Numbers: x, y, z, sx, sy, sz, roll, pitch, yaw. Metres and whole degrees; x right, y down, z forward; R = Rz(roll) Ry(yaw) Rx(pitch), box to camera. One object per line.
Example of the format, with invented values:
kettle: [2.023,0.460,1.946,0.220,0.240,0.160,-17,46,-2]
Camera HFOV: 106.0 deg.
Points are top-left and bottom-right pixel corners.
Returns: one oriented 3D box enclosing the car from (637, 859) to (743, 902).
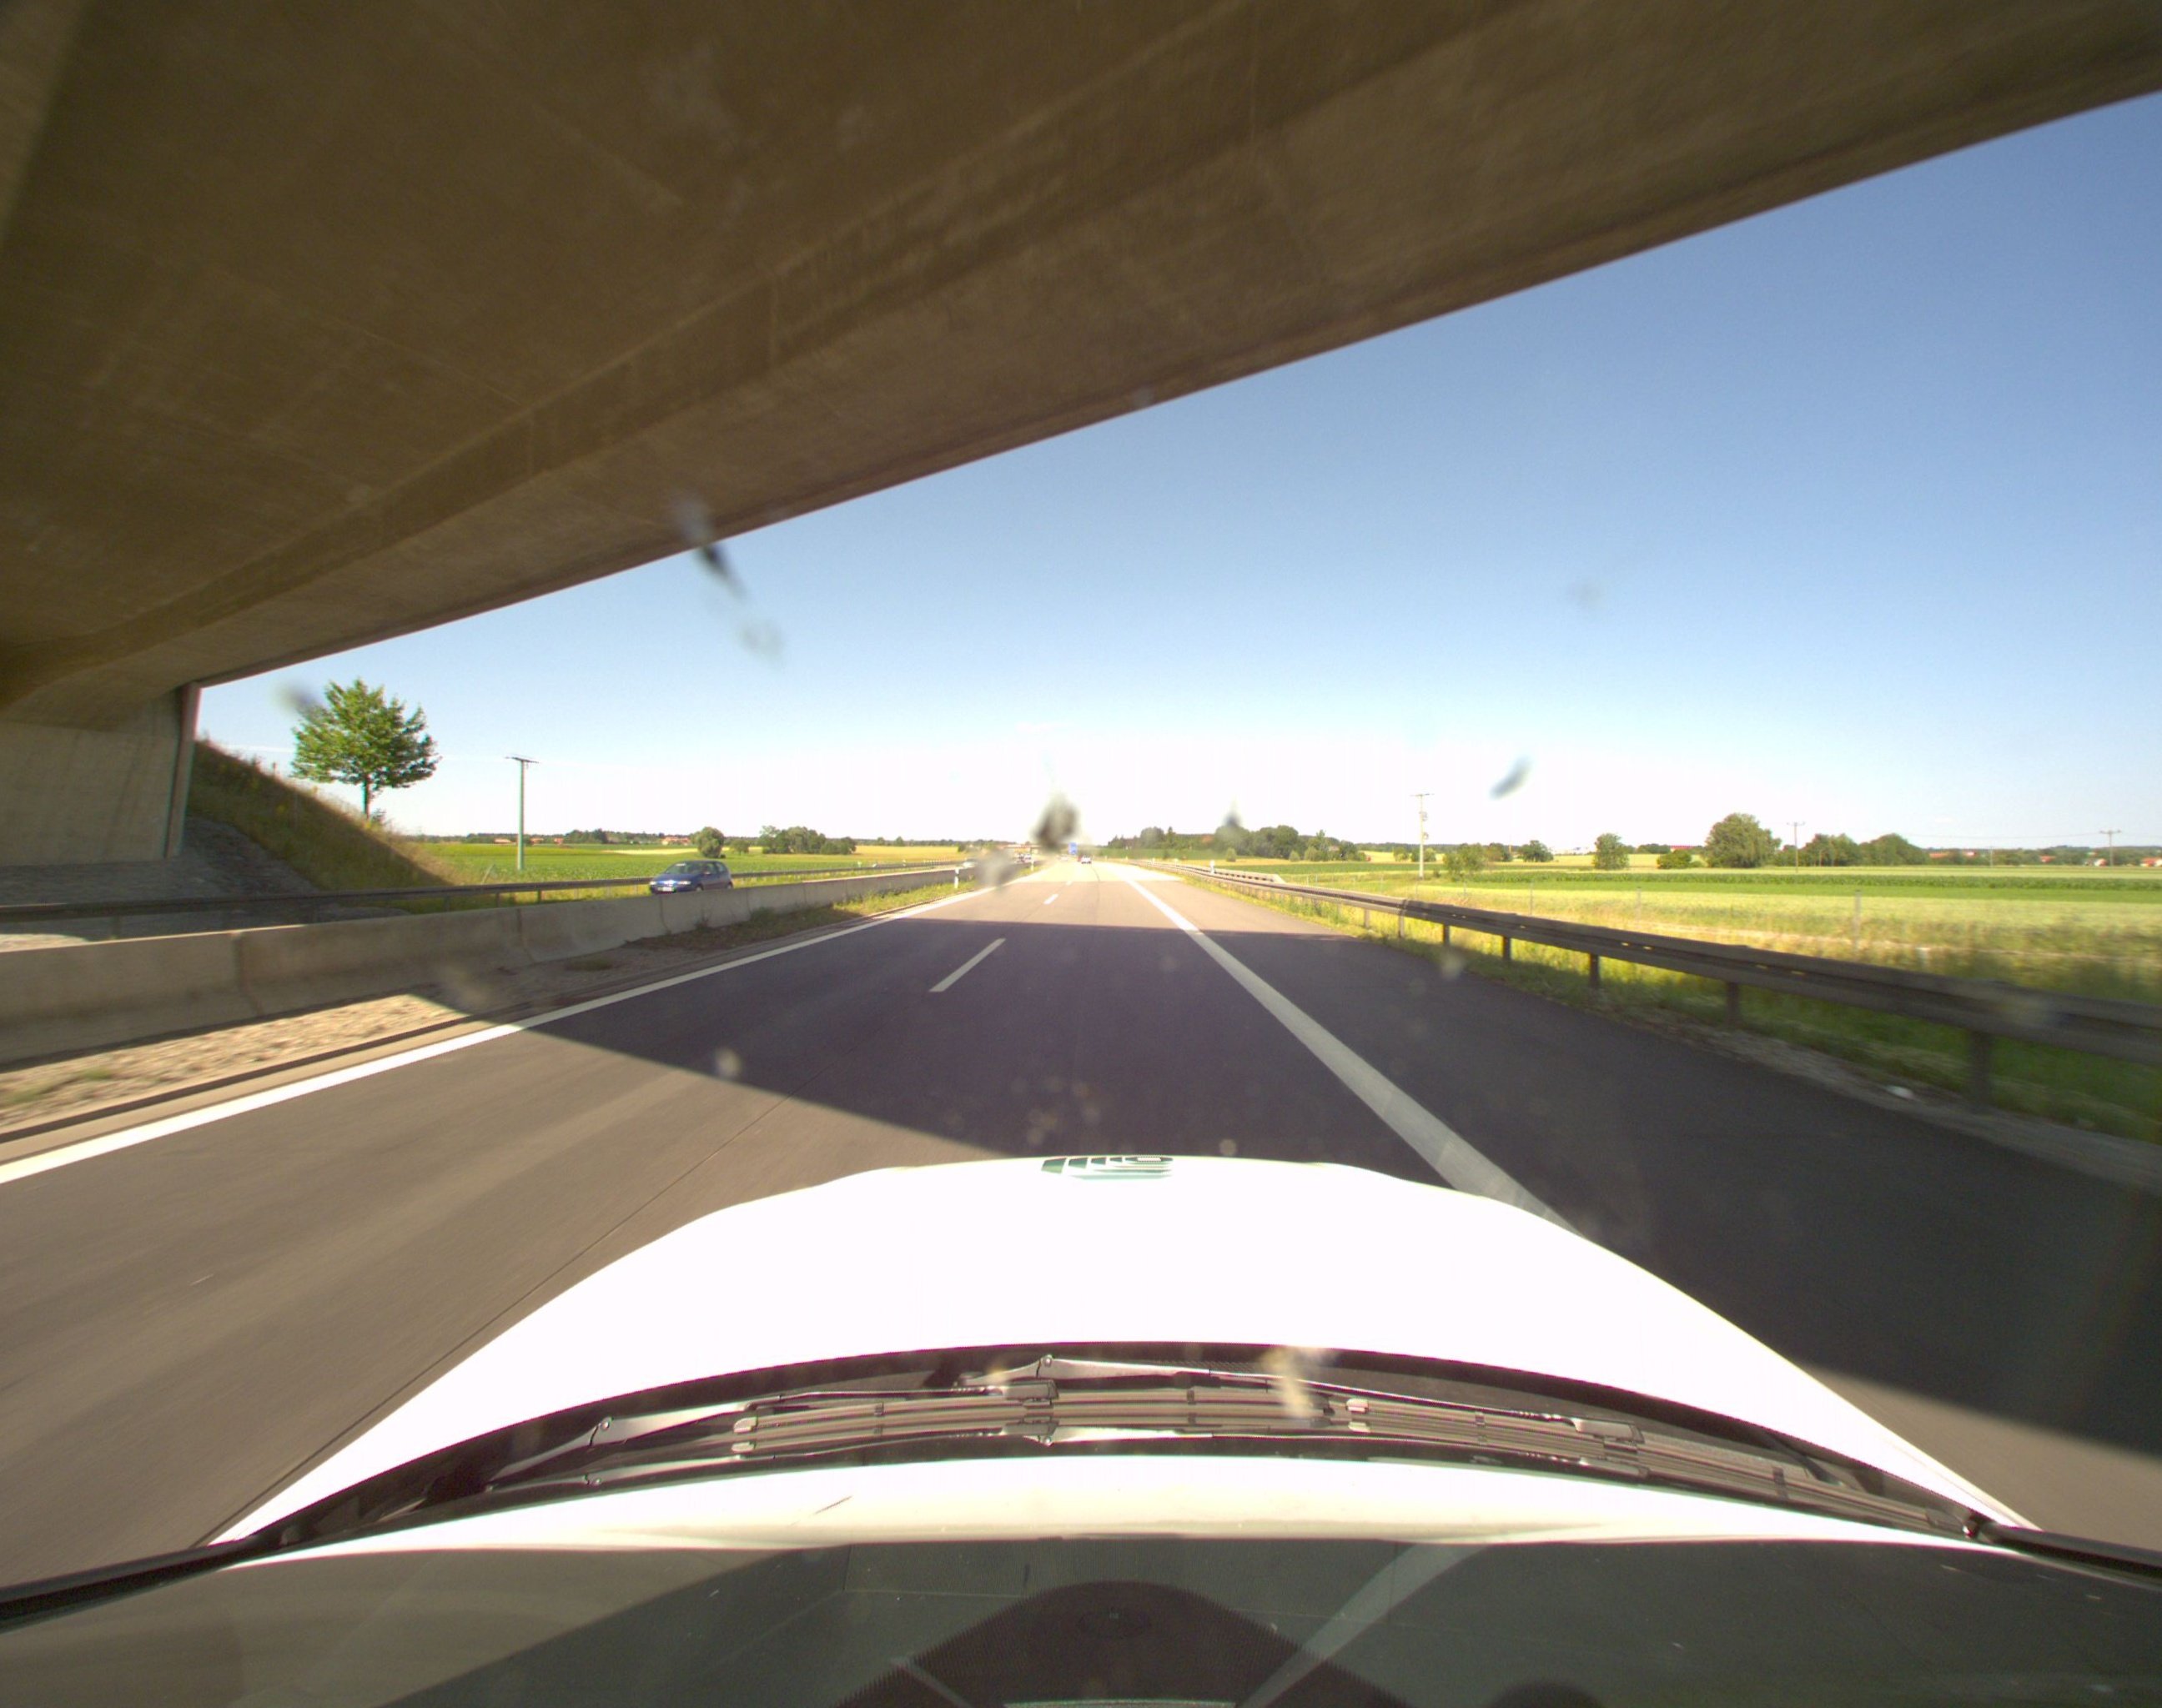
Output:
car: [-14.408,0.924,30.303,1.848,1.460,4.196,0,0,1]

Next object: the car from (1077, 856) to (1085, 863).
car: [-0.100,1.458,208.664,1.988,1.731,4.866,0,0,-2]

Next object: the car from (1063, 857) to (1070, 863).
car: [-4.199,1.636,236.931,1.987,1.731,4.869,0,0,0]

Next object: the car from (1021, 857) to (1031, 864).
car: [-12.589,1.513,186.721,1.853,1.514,4.585,1,0,0]

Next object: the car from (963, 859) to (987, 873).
car: [-12.330,1.348,94.837,1.986,1.579,4.897,1,-1,1]

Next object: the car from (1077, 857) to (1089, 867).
car: [0.370,1.514,157.382,1.989,1.731,4.863,0,0,-4]
